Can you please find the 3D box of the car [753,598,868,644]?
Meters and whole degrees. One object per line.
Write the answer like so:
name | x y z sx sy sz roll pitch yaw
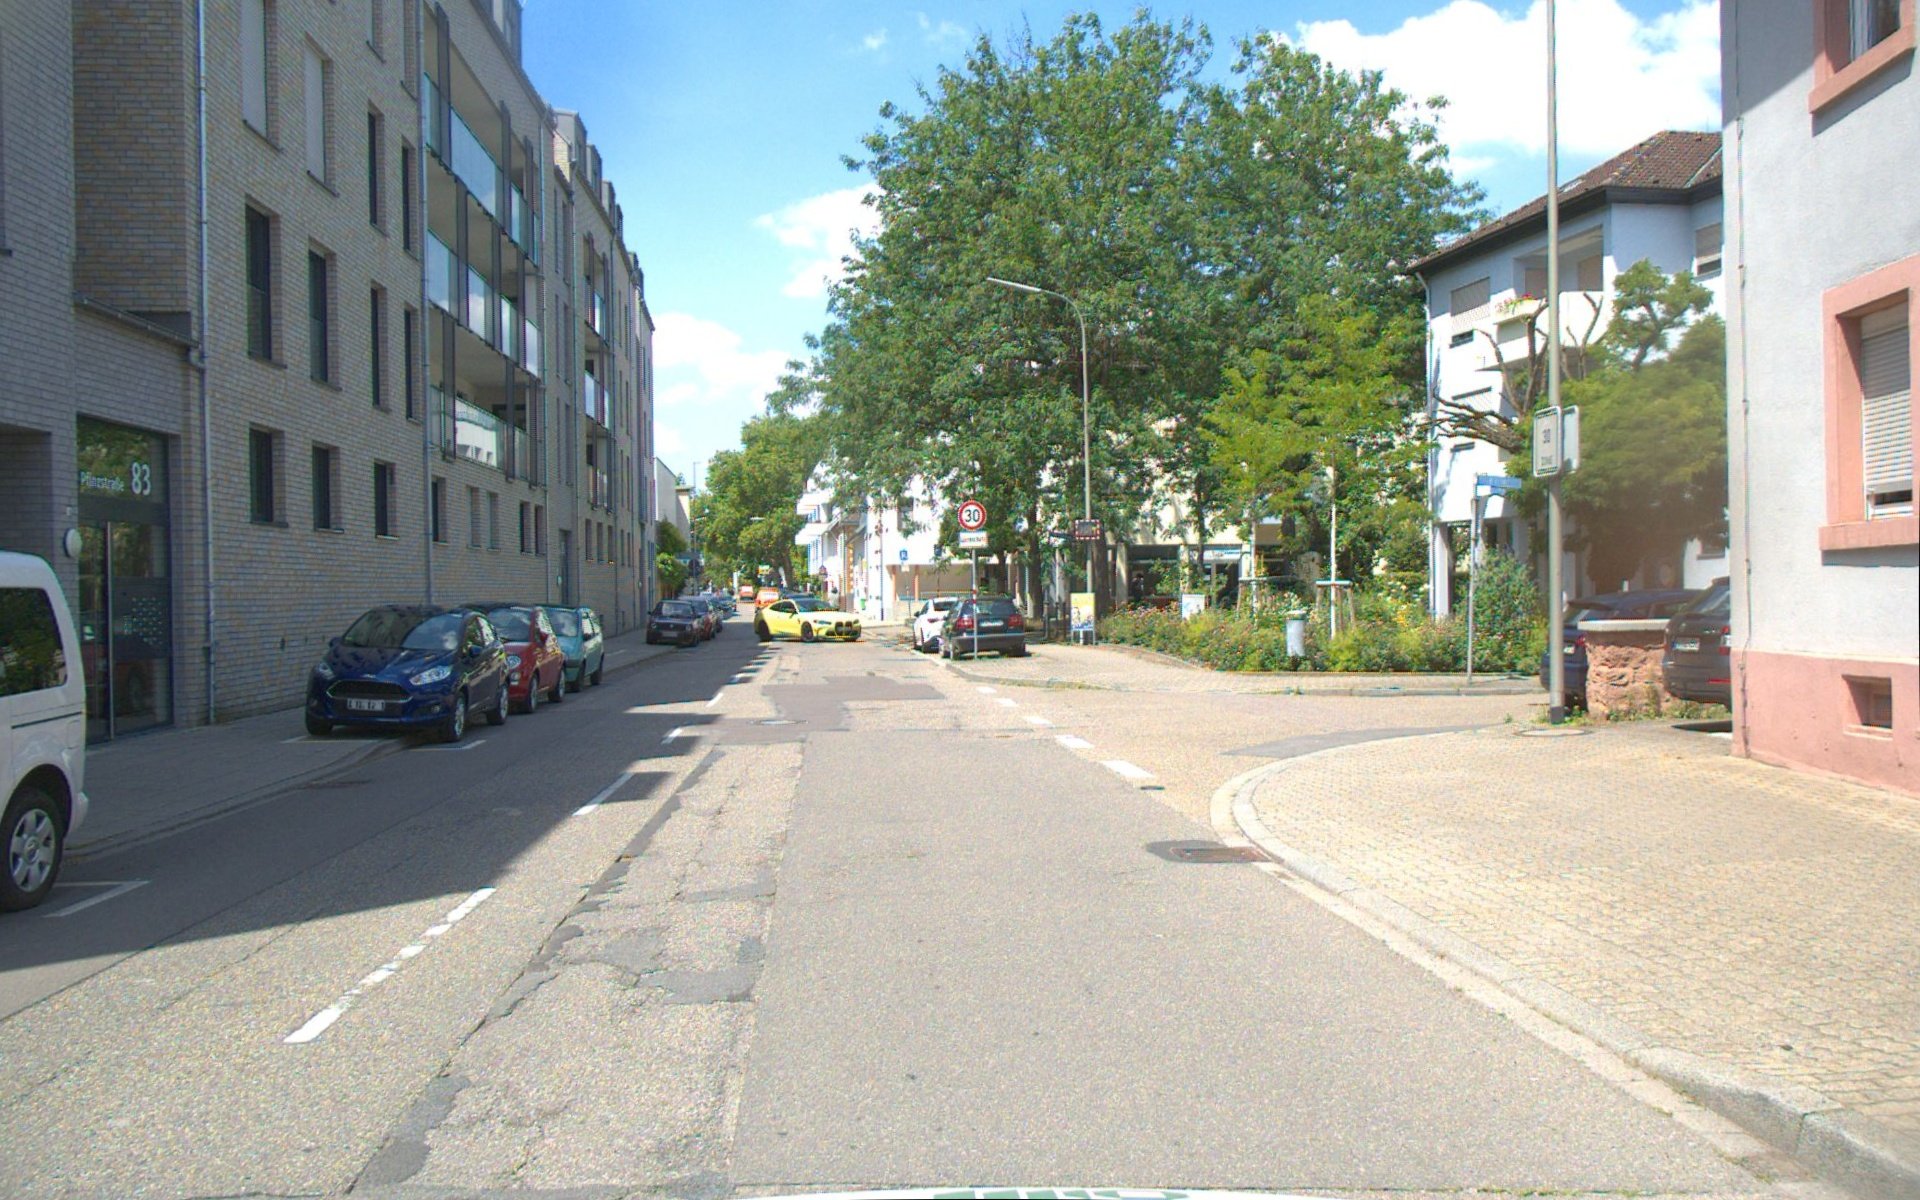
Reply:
car | -5.012 0.683 54.950 1.976 1.405 4.341 1 0 -34

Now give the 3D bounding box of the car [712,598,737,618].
car | -19.921 0.675 140.122 1.956 1.545 3.994 -1 0 -7

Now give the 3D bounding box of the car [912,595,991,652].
car | -0.269 0.619 44.757 1.744 1.445 3.995 -1 0 -6

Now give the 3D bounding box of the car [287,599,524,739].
car | -6.445 0.739 19.666 1.689 1.481 4.002 1 0 -4

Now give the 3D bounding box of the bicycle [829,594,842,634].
bicycle | -4.830 0.536 64.103 0.468 1.516 0.575 -1 0 -6

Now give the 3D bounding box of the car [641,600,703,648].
car | -9.463 0.761 54.539 1.699 1.467 3.995 -1 0 -6

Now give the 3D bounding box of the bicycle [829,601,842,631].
bicycle | -4.828 0.612 64.087 0.474 1.134 1.194 -1 0 -6

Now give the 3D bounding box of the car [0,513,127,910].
car | -5.488 0.525 7.020 1.721 1.925 4.335 2 0 -1

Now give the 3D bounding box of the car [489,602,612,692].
car | -7.254 0.794 29.580 1.560 1.481 3.699 1 0 -5

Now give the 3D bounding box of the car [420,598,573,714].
car | -6.766 0.758 24.470 1.560 1.581 3.567 0 0 -5

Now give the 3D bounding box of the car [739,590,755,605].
car | -30.059 -0.368 233.375 2.117 2.049 3.992 -1 0 -8

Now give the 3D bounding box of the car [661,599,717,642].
car | -9.721 0.717 59.625 1.699 1.467 3.995 -1 0 -6

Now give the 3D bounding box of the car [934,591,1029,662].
car | 0.441 0.579 37.962 1.660 1.444 3.995 -3 0 -6

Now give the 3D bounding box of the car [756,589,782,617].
car | -14.281 0.225 123.740 1.803 2.049 3.995 -1 1 -6

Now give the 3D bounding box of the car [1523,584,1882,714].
car | 8.792 0.568 19.748 3.528 1.474 1.739 0 -1 -6

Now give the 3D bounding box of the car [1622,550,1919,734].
car | 8.771 0.339 15.752 4.182 1.557 1.741 -3 -1 -2

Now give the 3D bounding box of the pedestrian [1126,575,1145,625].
pedestrian | 6.715 -0.007 63.189 0.582 1.891 0.604 -1 0 16
